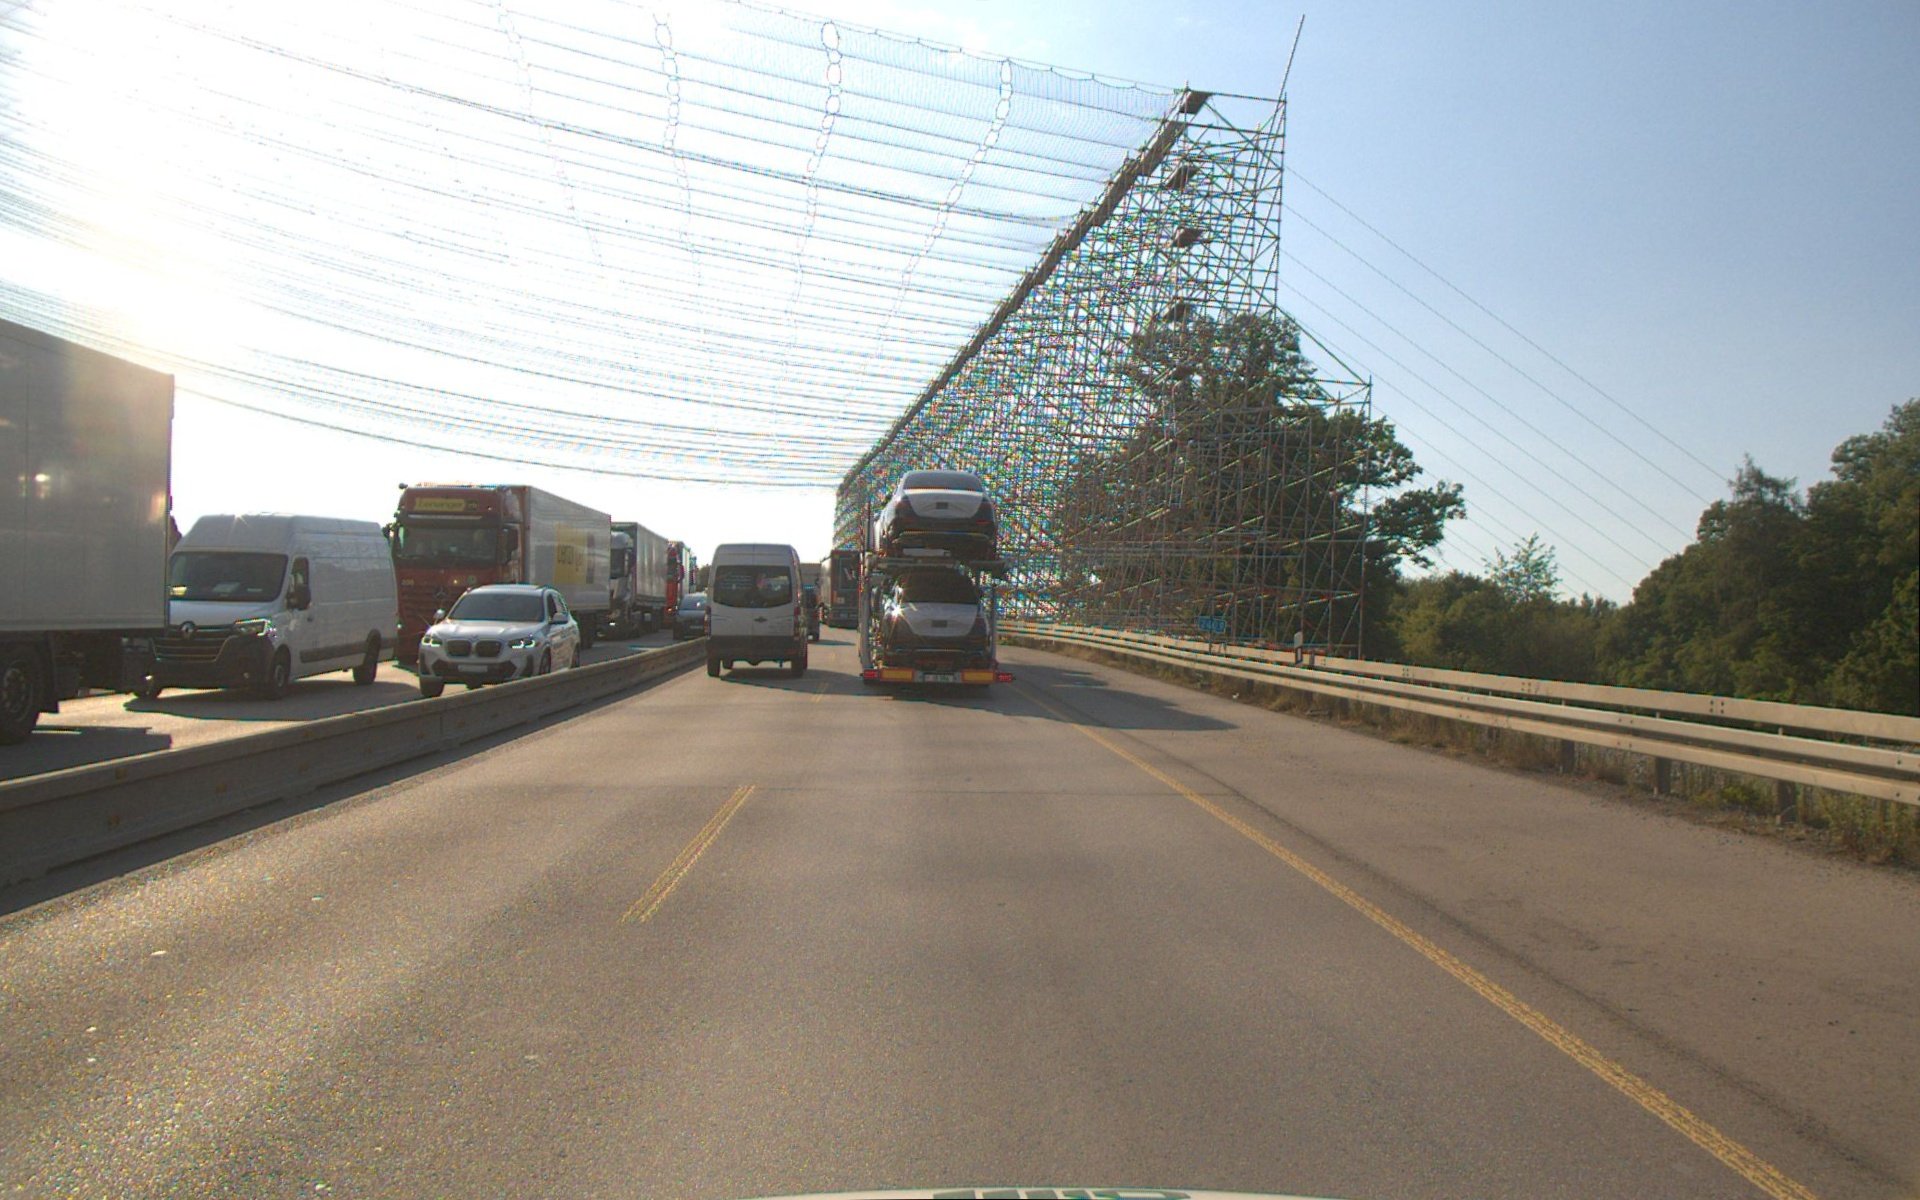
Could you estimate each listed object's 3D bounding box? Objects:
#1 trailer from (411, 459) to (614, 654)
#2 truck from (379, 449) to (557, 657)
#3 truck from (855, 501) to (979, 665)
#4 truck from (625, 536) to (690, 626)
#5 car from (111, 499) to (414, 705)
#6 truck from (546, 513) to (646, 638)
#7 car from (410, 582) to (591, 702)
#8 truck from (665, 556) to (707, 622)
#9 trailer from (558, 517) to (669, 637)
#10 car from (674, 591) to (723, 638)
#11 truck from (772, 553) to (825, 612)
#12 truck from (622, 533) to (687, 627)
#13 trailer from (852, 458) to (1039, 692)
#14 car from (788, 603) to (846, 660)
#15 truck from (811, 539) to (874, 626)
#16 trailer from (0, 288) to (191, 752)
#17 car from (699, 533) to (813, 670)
[{"bbox_3d":[-11.696,-0.967,44.816,2.712,4.409,13.867,1,0,-4],"label":"trailer"},{"bbox_3d":[-11.171,-0.990,38.123,2.691,4.375,5.928,1,0,-5],"label":"truck"},{"bbox_3d":[-1.233,-0.373,42.091,2.825,3.767,7.319,1,0,-4],"label":"truck"},{"bbox_3d":[-15.359,-0.870,84.786,2.735,4.214,13.780,1,0,-8],"label":"truck"},{"bbox_3d":[-10.599,-0.024,25.889,1.981,2.737,6.946,2,1,-2],"label":"car"},{"bbox_3d":[-12.902,-0.808,59.112,2.733,4.214,5.926,1,0,-6],"label":"truck"},{"bbox_3d":[-7.247,0.592,26.571,1.833,1.616,4.799,3,1,-5],"label":"car"},{"bbox_3d":[-18.495,-0.712,111.337,2.615,4.304,6.088,1,0,-11],"label":"truck"},{"bbox_3d":[-13.538,-0.789,65.770,2.744,4.214,13.950,1,0,-5],"label":"trailer"},{"bbox_3d":[-9.720,0.512,61.710,1.719,1.686,4.853,1,0,-9],"label":"car"},{"bbox_3d":[-12.780,-1.396,132.213,3.614,4.294,13.659,-2,1,-4],"label":"truck"},{"bbox_3d":[-14.396,-0.878,78.299,2.735,4.214,6.666,1,0,-9],"label":"truck"},{"bbox_3d":[-0.710,-0.374,34.560,2.813,3.790,14.932,1,0,-5],"label":"trailer"},{"bbox_3d":[-5.455,1.158,62.795,1.956,2.049,3.993,1,-1,-8],"label":"car"},{"bbox_3d":[-6.632,-0.936,92.034,2.680,4.462,11.502,2,0,-7],"label":"truck"},{"bbox_3d":[-10.083,-0.766,12.530,2.666,4.292,13.740,1,0,-3],"label":"trailer"},{"bbox_3d":[-4.158,0.050,34.271,1.917,2.667,3.999,0,-1,-1],"label":"car"}]
